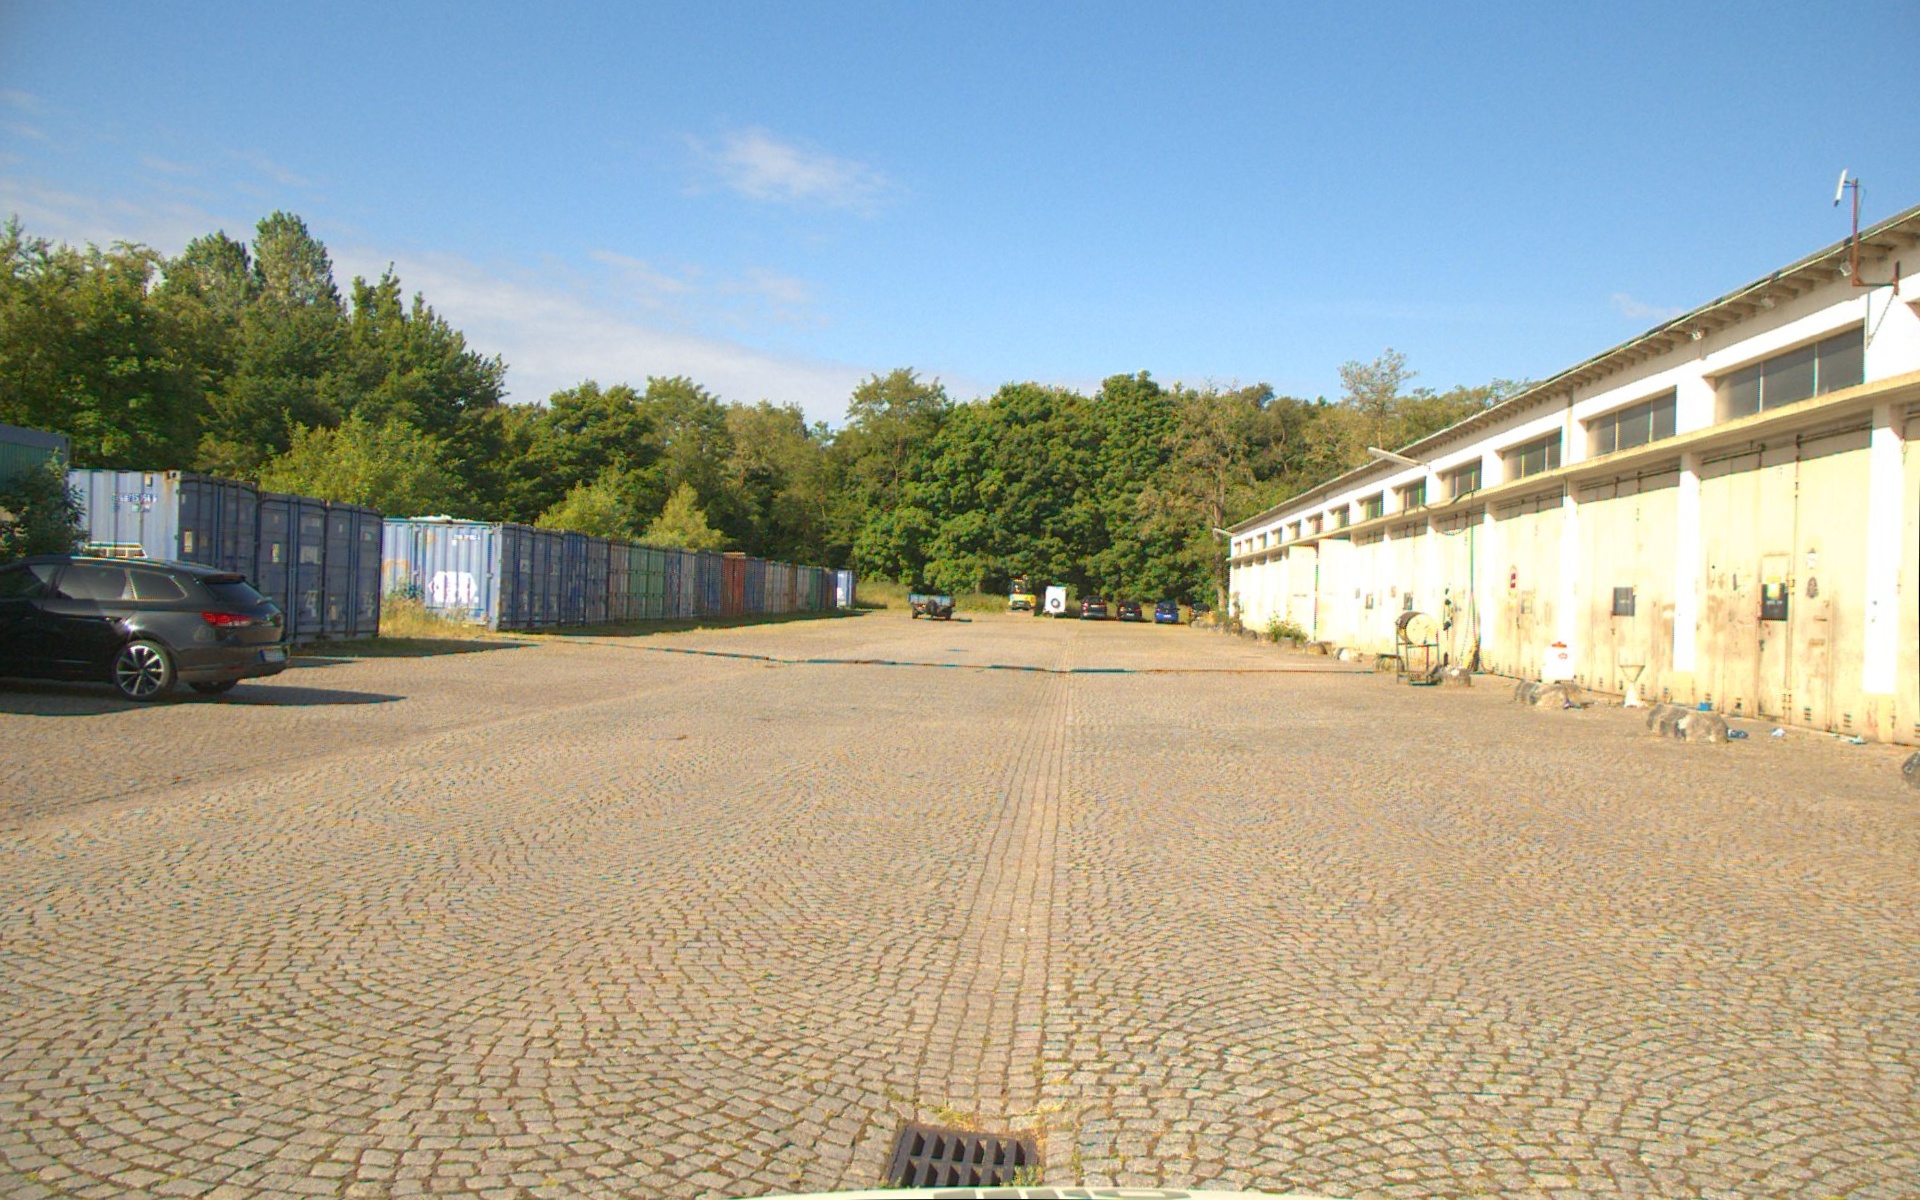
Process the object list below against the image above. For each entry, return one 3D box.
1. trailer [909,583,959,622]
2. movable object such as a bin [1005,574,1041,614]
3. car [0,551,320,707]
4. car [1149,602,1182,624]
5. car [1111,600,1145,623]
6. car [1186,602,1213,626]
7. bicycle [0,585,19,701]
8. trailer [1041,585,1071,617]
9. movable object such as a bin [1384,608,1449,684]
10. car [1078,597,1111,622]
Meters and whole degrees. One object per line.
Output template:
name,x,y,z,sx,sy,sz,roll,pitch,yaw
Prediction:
trailer,-1.503,0.142,97.754,2.357,2.048,4.176,4,0,6
movable object such as a bin,4.471,-0.418,116.825,1.951,2.663,4.003,4,0,8
car,-9.213,0.256,17.700,3.968,1.437,1.731,3,0,-2
car,14.240,0.899,114.385,1.951,1.445,4.003,2,0,11
car,11.671,0.758,114.556,1.951,1.488,4.003,2,0,11
car,16.741,0.974,115.577,1.649,1.591,4.003,2,0,11
bicycle,-10.172,0.363,16.017,1.672,1.120,0.674,4,0,3
trailer,6.778,0.083,116.392,1.755,2.126,3.974,2,0,8
movable object such as a bin,8.524,0.854,30.935,0.807,1.355,1.280,2,0,-1
car,9.307,0.655,114.519,1.822,1.613,4.003,2,0,11
